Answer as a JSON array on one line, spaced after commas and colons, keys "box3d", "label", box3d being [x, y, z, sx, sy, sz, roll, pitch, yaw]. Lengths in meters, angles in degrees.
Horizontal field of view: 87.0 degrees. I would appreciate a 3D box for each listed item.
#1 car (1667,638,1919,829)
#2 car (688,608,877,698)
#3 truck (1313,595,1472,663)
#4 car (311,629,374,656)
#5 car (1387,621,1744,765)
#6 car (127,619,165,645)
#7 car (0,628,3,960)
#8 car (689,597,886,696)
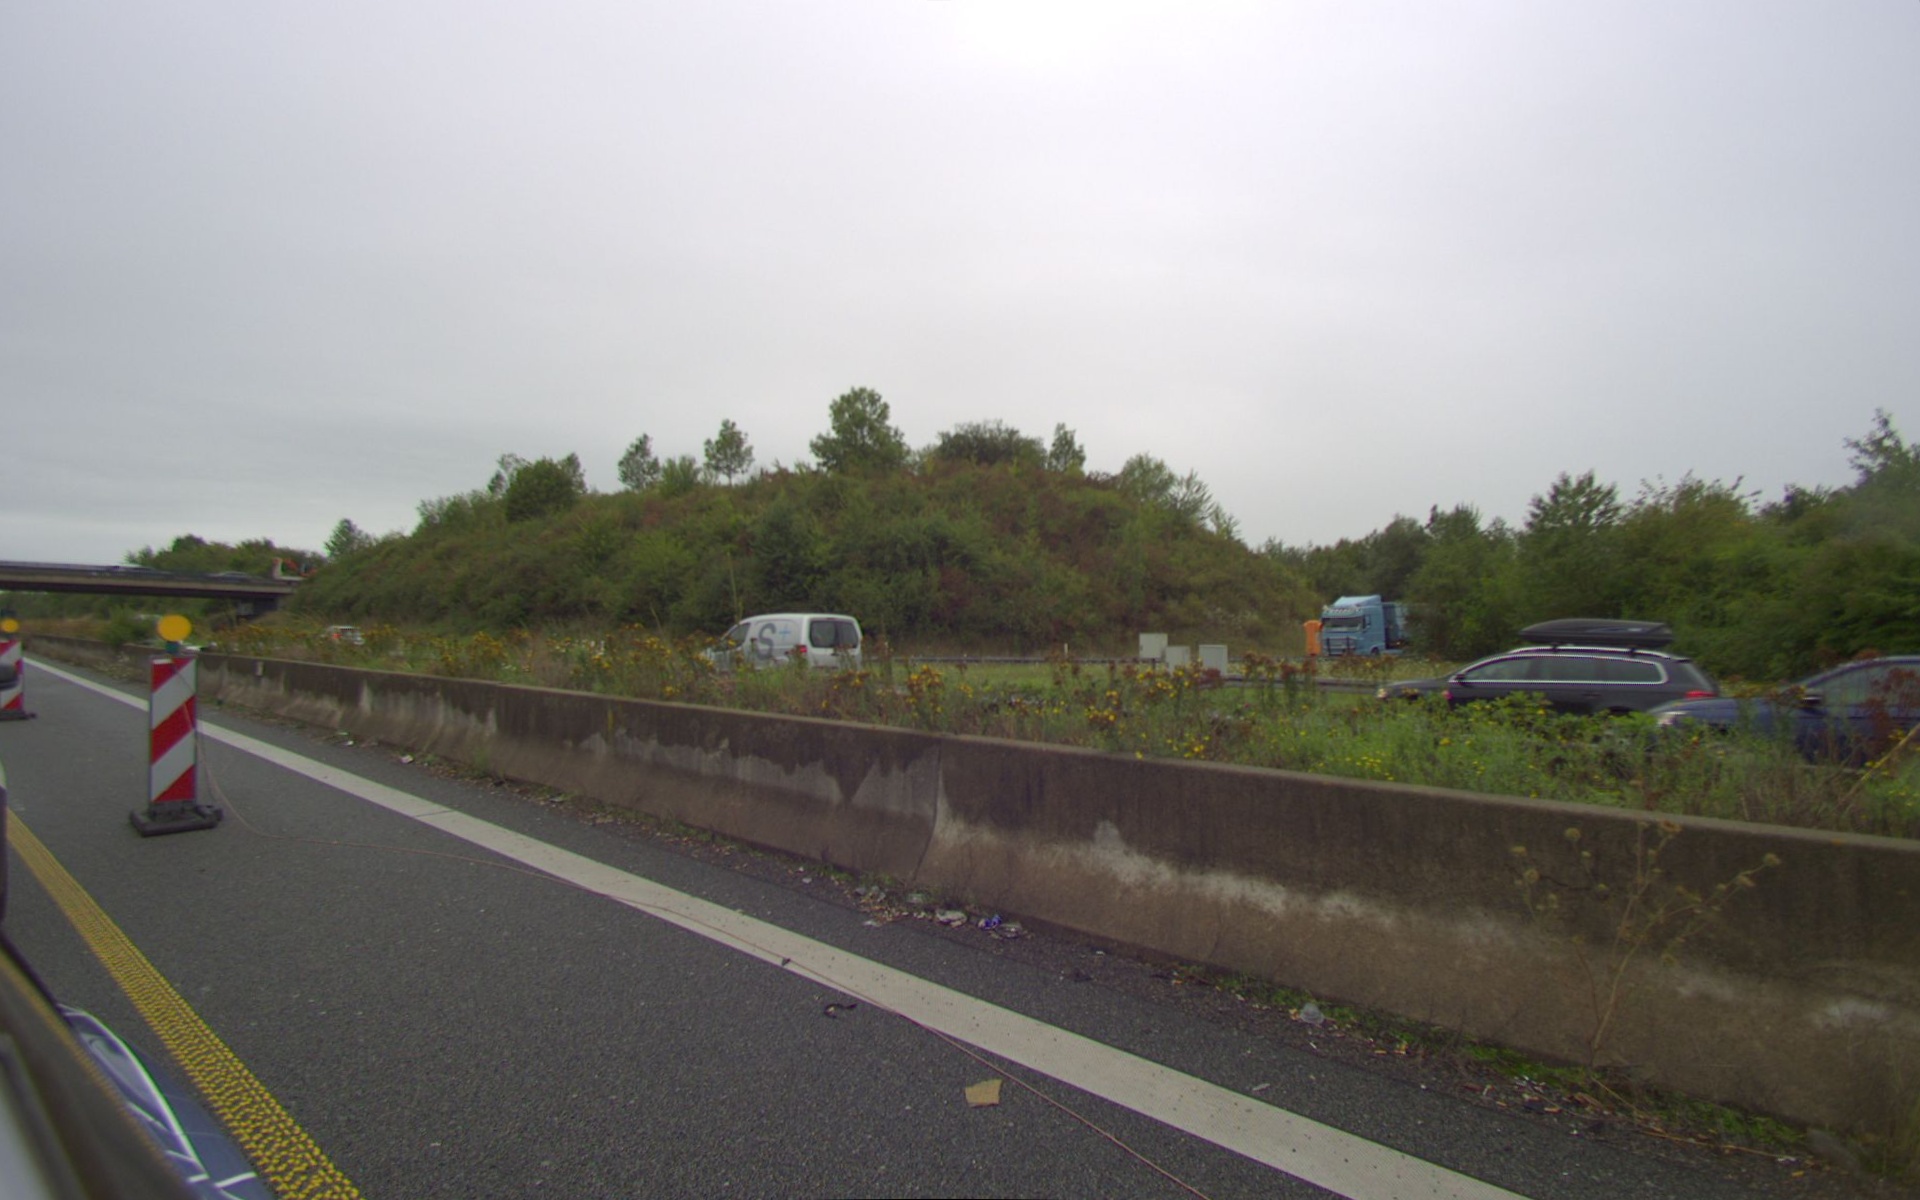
[{"box3d": [8.734, 1.185, 9.154, 3.662, 1.543, 1.436, 0, 0, 44], "label": "car"}, {"box3d": [-3.723, 1.053, 20.869, 4.001, 1.662, 1.847, -2, -3, 44], "label": "car"}, {"box3d": [26.034, 1.804, 60.261, 14.354, 3.647, 2.904, 2, -3, -42], "label": "truck"}, {"box3d": [-35.263, 2.423, 57.778, 4.108, 1.491, 1.972, -2, -3, 42], "label": "car"}, {"box3d": [8.806, 1.250, 14.915, 4.227, 1.803, 1.973, -2, -3, 41], "label": "car"}, {"box3d": [-81.424, 3.204, 101.224, 5.885, 2.459, 2.214, -2, -3, 44], "label": "car"}, {"box3d": [-6.335, 0.655, 5.116, 4.645, 1.798, 1.747, -1, -1, 41], "label": "car"}, {"box3d": [-3.611, 0.875, 20.800, 4.000, 1.815, 1.972, 0, 0, 42], "label": "car"}]
